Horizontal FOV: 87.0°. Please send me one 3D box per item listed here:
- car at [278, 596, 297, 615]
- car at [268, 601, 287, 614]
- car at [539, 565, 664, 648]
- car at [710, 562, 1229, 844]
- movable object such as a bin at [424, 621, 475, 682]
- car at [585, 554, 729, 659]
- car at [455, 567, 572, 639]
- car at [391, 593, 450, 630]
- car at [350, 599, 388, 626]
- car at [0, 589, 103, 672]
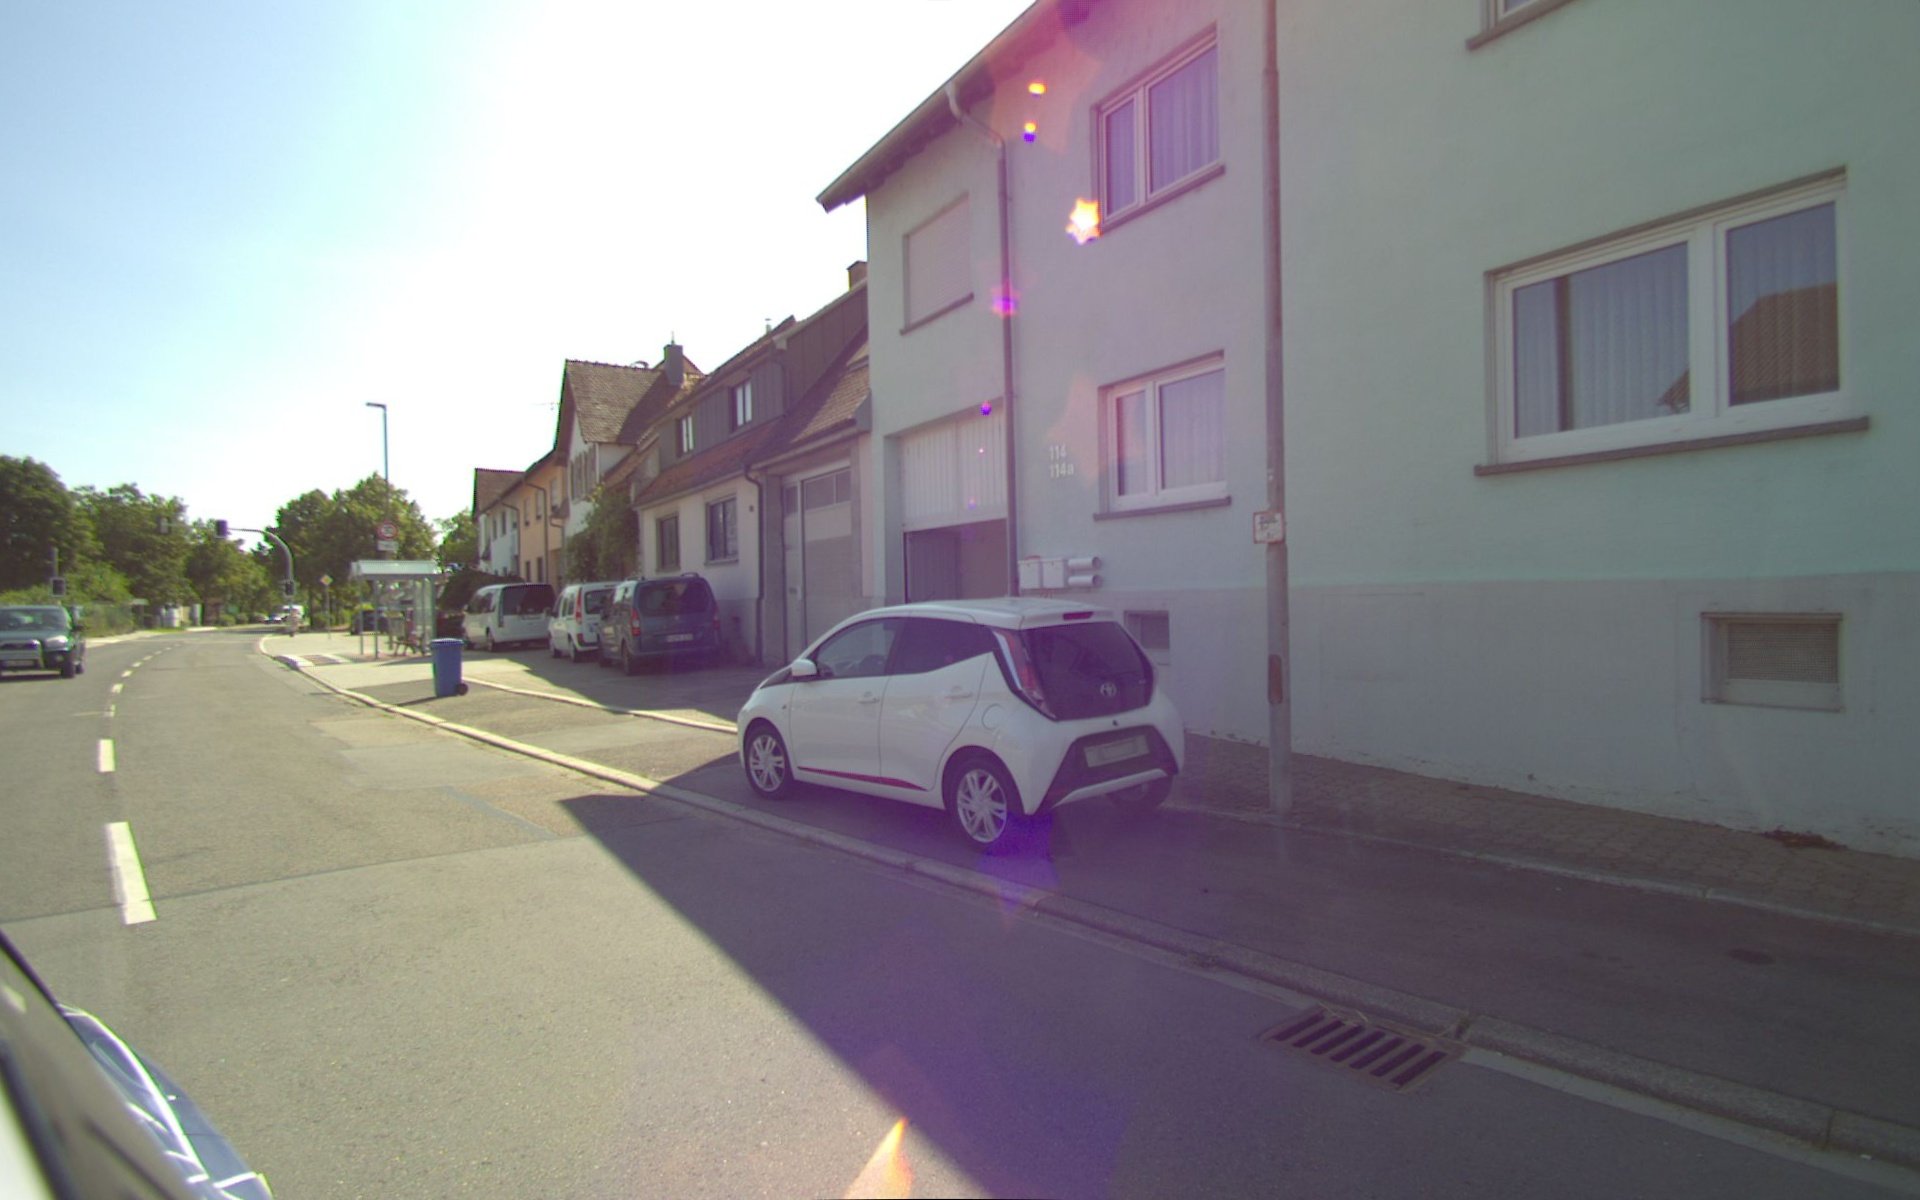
[{"bbox_3d":[-94.317,0.731,141.986,1.907,2.521,5.856,-1,1,-31],"label":"car"},{"bbox_3d":[-87.071,0.934,129.155,1.816,1.604,4.118,-1,1,-31],"label":"car"},{"bbox_3d":[-8.812,0.098,24.640,1.941,1.787,4.289,-3,2,-32],"label":"car"},{"bbox_3d":[-0.125,0.520,7.272,1.664,1.473,3.653,-3,2,-43],"label":"car"},{"bbox_3d":[-8.489,0.846,16.831,0.514,0.943,0.551,-1,3,43],"label":"movable object such as a bin"},{"bbox_3d":[-6.245,0.085,20.518,1.811,1.806,4.356,-5,3,-29],"label":"car"},{"bbox_3d":[-14.003,0.049,31.535,2.099,2.001,5.276,-3,2,-38],"label":"car"},{"bbox_3d":[-23.639,0.503,44.283,1.692,1.464,3.924,-3,1,-35],"label":"car"},{"bbox_3d":[-34.331,0.686,58.758,1.691,1.418,4.410,-1,1,-33],"label":"car"},{"bbox_3d":[-21.353,0.704,23.436,1.820,1.709,4.409,-3,1,-35],"label":"car"}]
